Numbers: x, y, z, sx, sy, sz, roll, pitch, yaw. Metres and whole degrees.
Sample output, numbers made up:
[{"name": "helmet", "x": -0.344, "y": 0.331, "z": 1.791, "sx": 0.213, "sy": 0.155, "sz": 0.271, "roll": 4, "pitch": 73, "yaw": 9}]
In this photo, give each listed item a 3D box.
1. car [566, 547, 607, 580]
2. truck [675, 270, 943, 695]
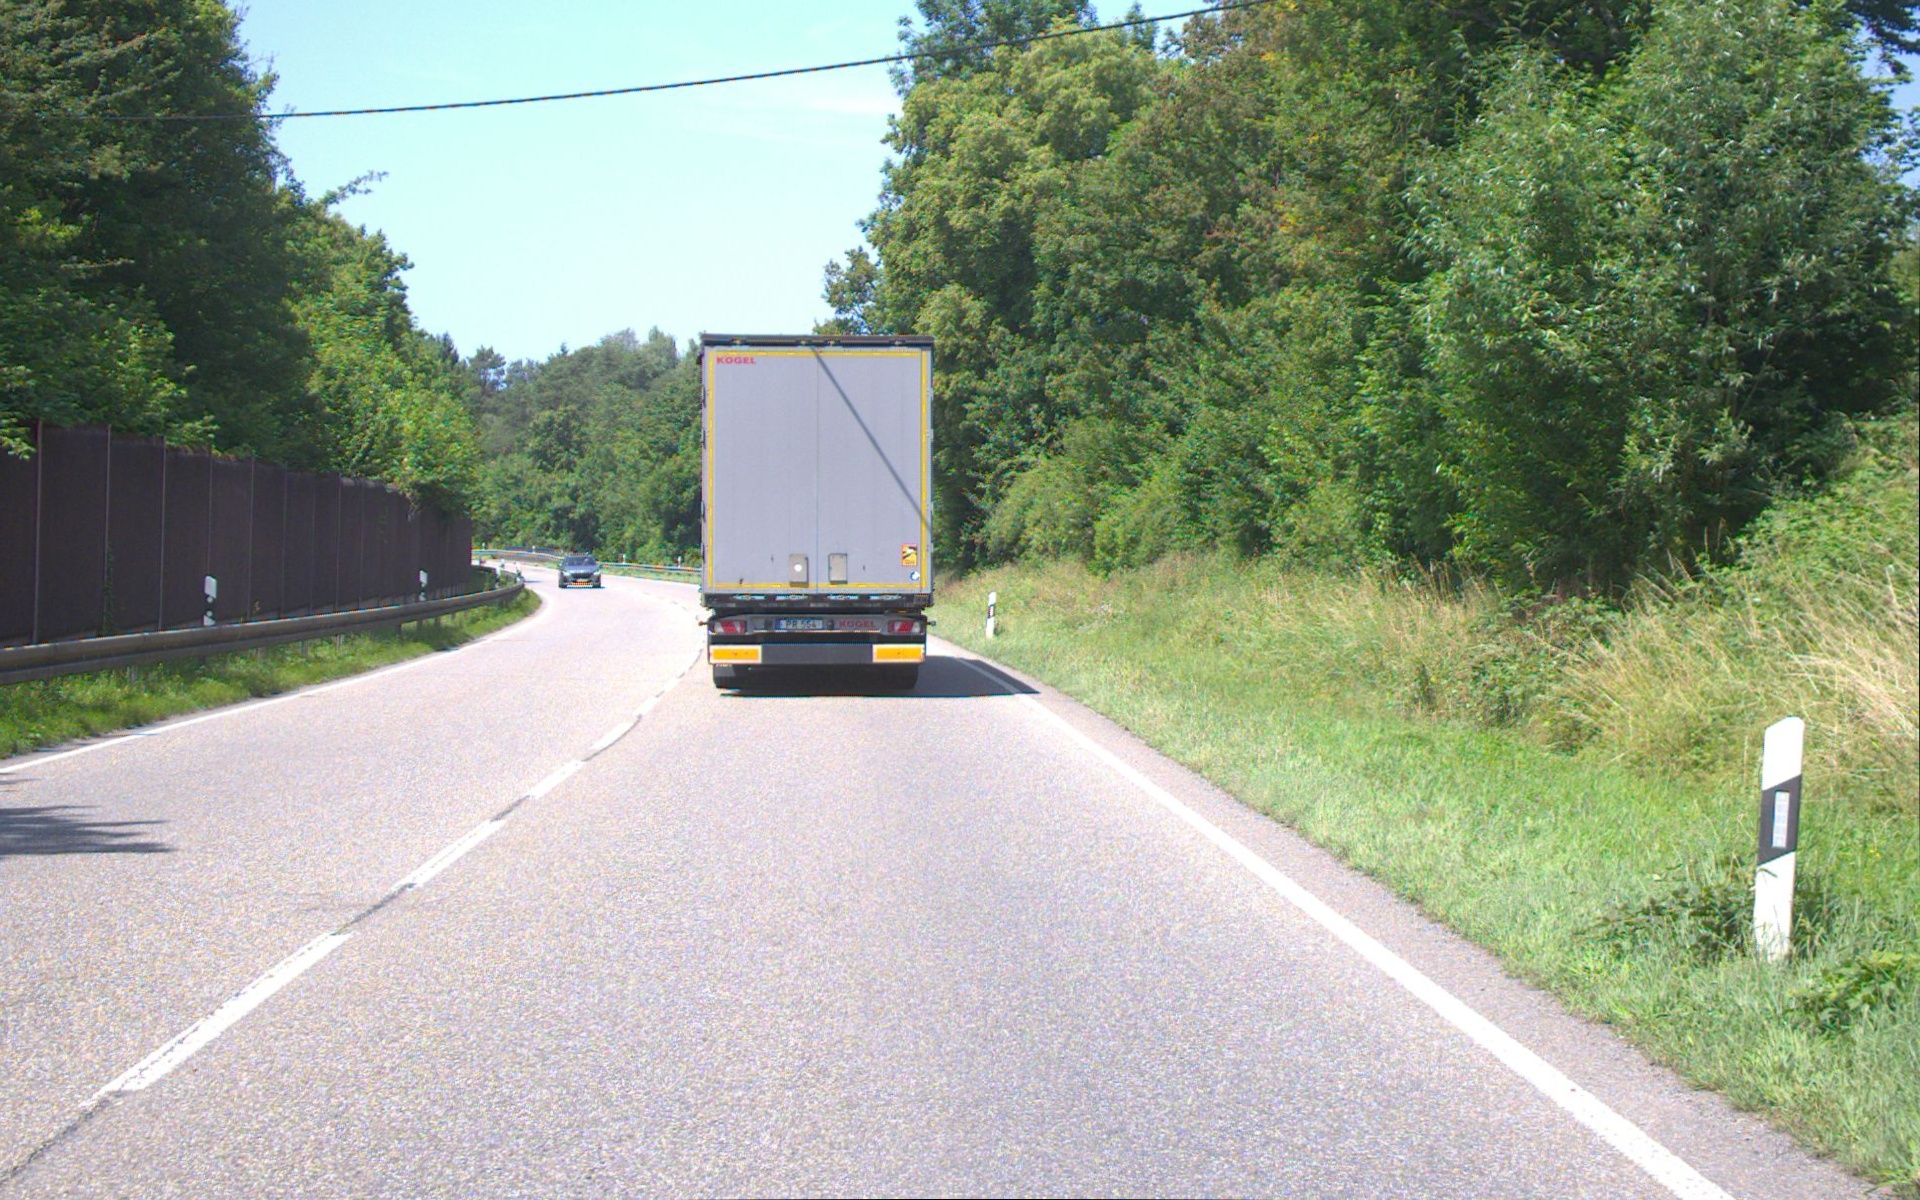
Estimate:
[{"name": "car", "x": -17.297, "y": -1.686, "z": 159.183, "sx": 1.616, "sy": 1.486, "sz": 3.618, "roll": 0, "pitch": 1, "yaw": -10}, {"name": "truck", "x": -1.657, "y": -1.275, "z": 40.689, "sx": 2.822, "sy": 4.588, "sz": 6.665, "roll": 1, "pitch": 0, "yaw": 0}]
